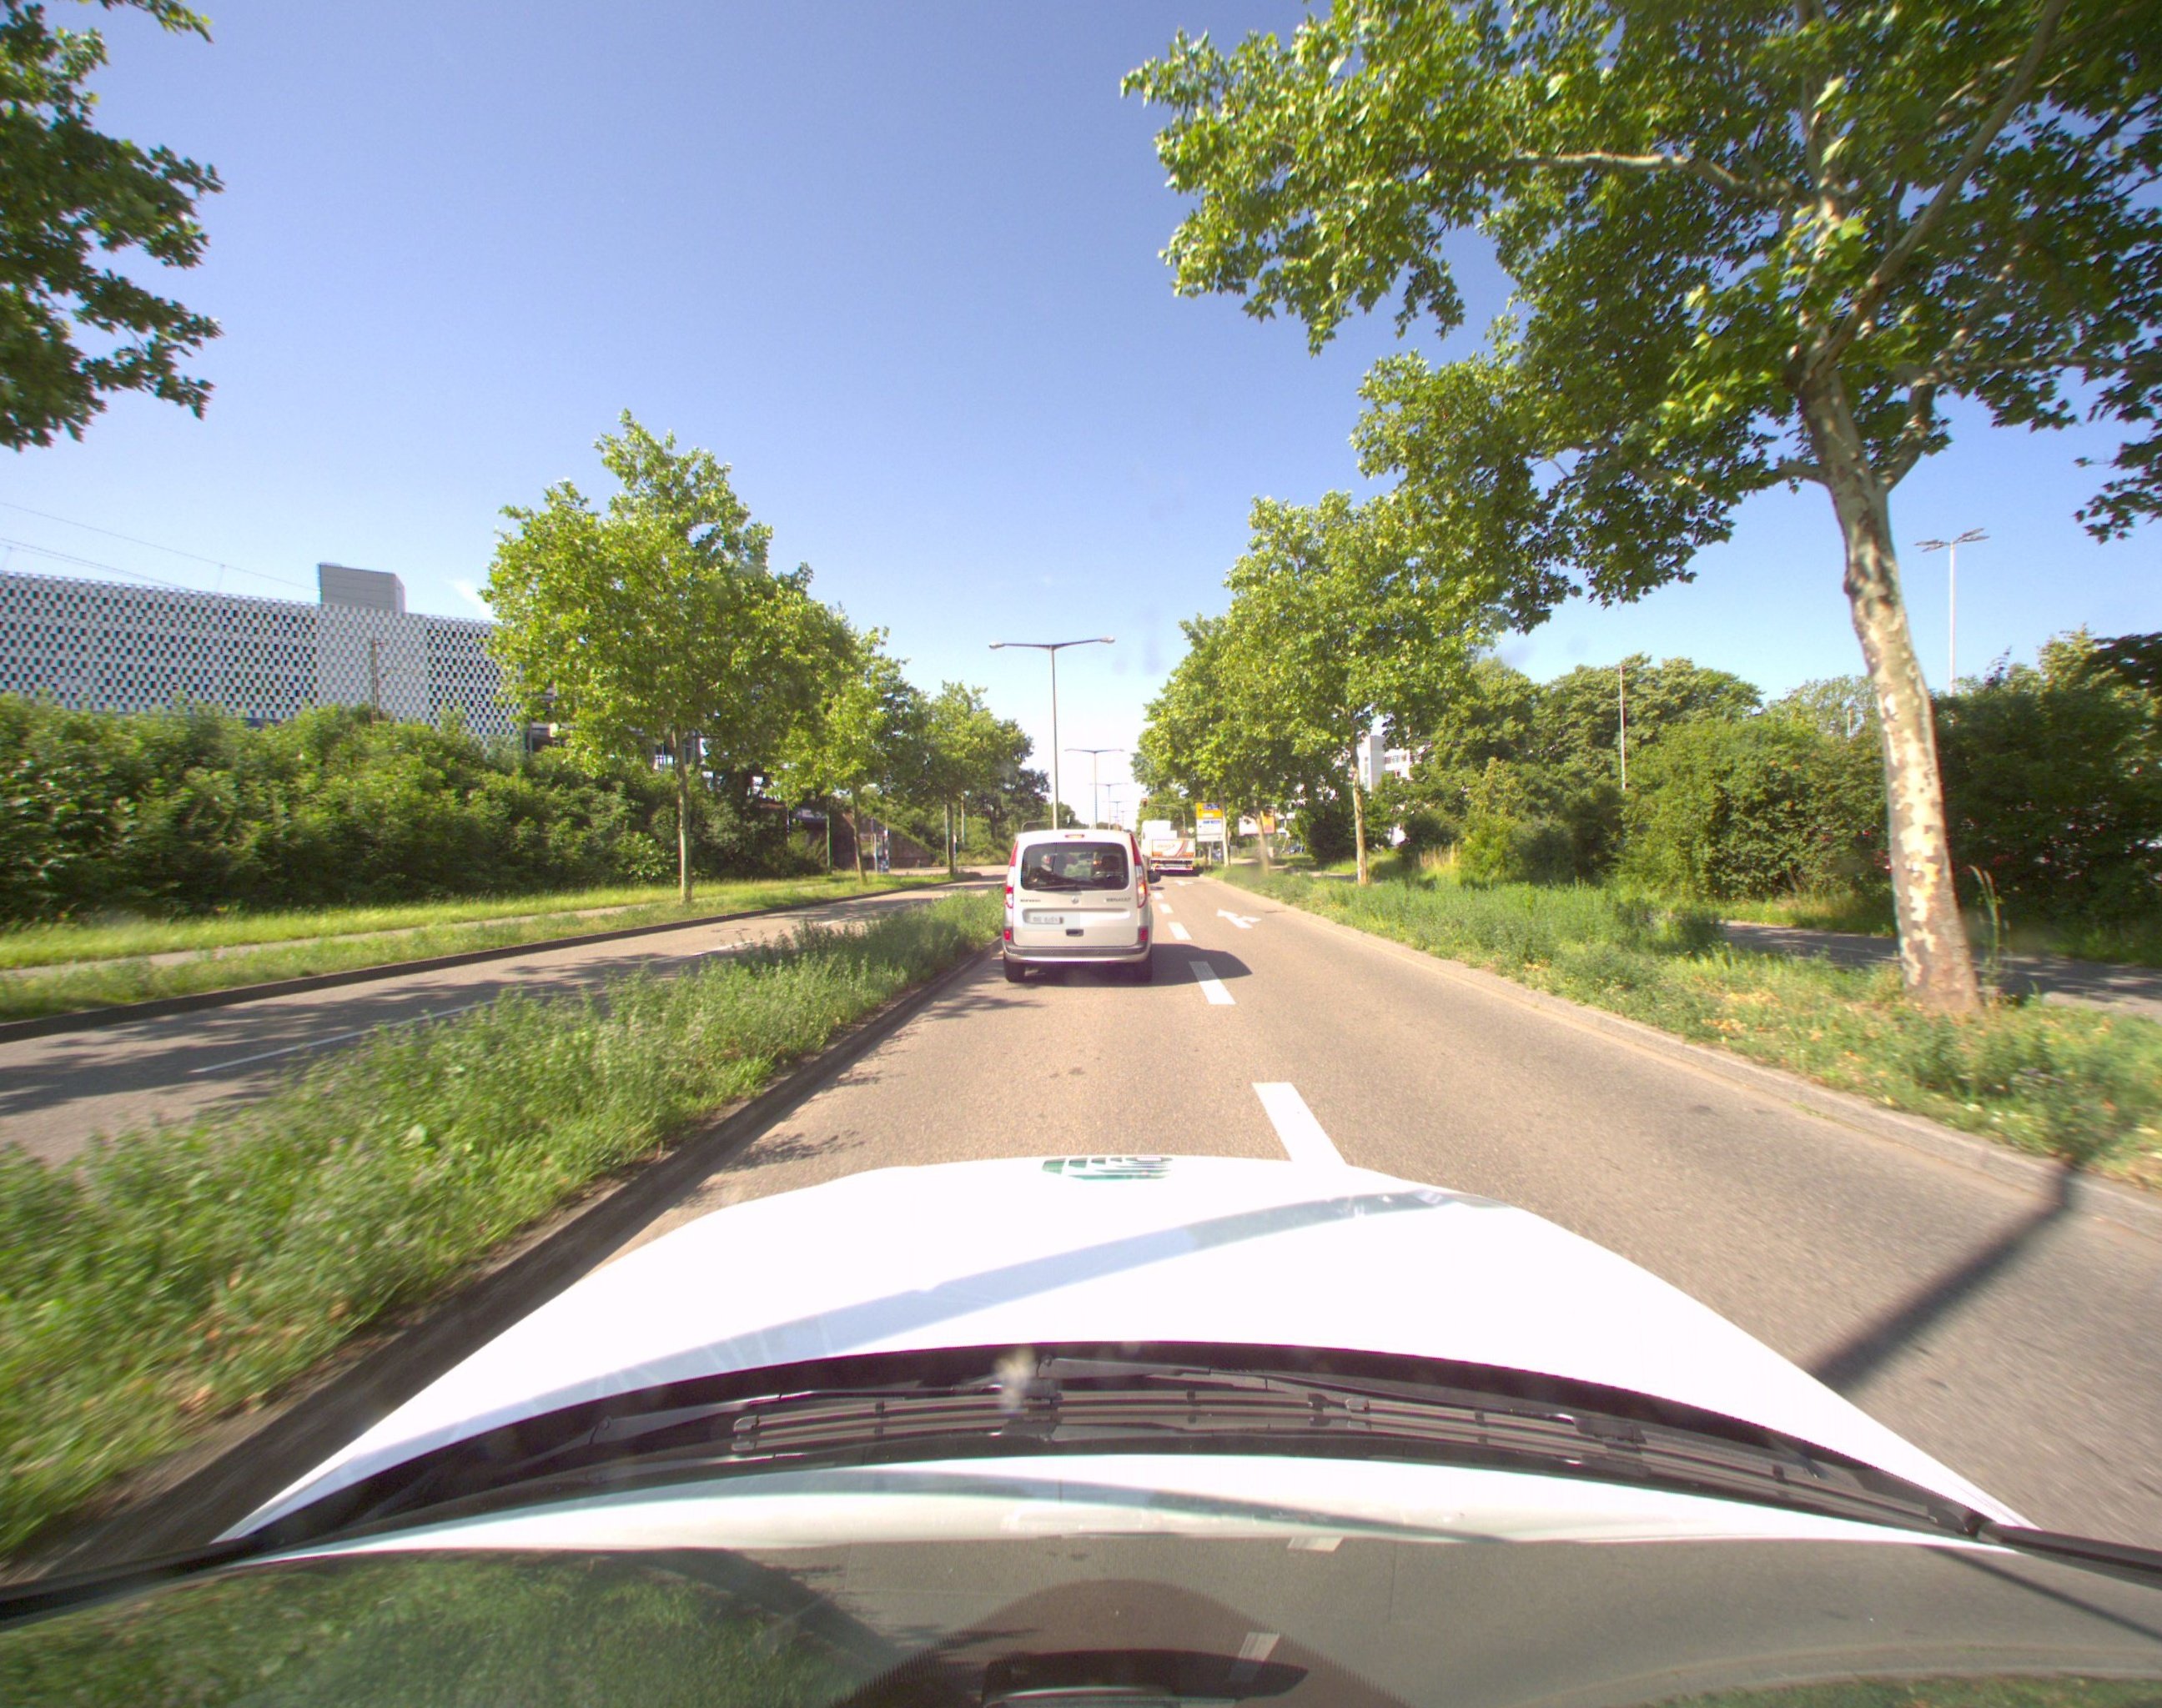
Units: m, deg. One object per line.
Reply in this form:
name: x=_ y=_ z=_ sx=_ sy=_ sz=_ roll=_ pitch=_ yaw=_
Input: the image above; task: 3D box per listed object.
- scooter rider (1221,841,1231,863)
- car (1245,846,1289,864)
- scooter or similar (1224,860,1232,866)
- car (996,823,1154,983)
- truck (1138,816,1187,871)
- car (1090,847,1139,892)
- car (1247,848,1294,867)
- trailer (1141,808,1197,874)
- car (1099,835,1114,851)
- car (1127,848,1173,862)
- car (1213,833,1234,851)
scooter rider: x=9.081 y=-0.118 z=51.005 sx=0.495 sy=1.337 sz=0.563 roll=0 pitch=0 yaw=0
car: x=17.511 y=0.125 z=76.719 sx=3.964 sy=1.662 sz=1.727 roll=0 pitch=0 yaw=8
scooter or similar: x=9.215 y=0.567 z=51.012 sx=0.377 sy=0.357 sz=0.556 roll=0 pitch=0 yaw=0
car: x=0.018 y=0.544 z=10.972 sx=1.742 sy=1.772 sz=3.952 roll=0 pitch=0 yaw=2
truck: x=5.794 y=-0.732 z=59.171 sx=3.060 sy=3.758 sz=7.480 roll=0 pitch=0 yaw=2
car: x=1.268 y=0.575 z=32.376 sx=1.803 sy=1.684 sz=4.000 roll=0 pitch=0 yaw=1
car: x=17.016 y=0.294 z=73.121 sx=3.964 sy=1.662 sz=1.727 roll=0 pitch=0 yaw=8
trailer: x=5.484 y=-0.738 z=52.647 sx=3.003 sy=3.740 sz=12.250 roll=0 pitch=0 yaw=3
car: x=3.424 y=-1.443 z=108.657 sx=1.710 sy=2.014 sz=3.996 roll=0 pitch=0 yaw=-3
car: x=7.187 y=0.127 z=84.759 sx=4.457 sy=1.427 sz=1.718 roll=0 pitch=0 yaw=-22
car: x=14.700 y=-1.197 z=84.274 sx=1.808 sy=1.795 sz=3.447 roll=0 pitch=0 yaw=4
